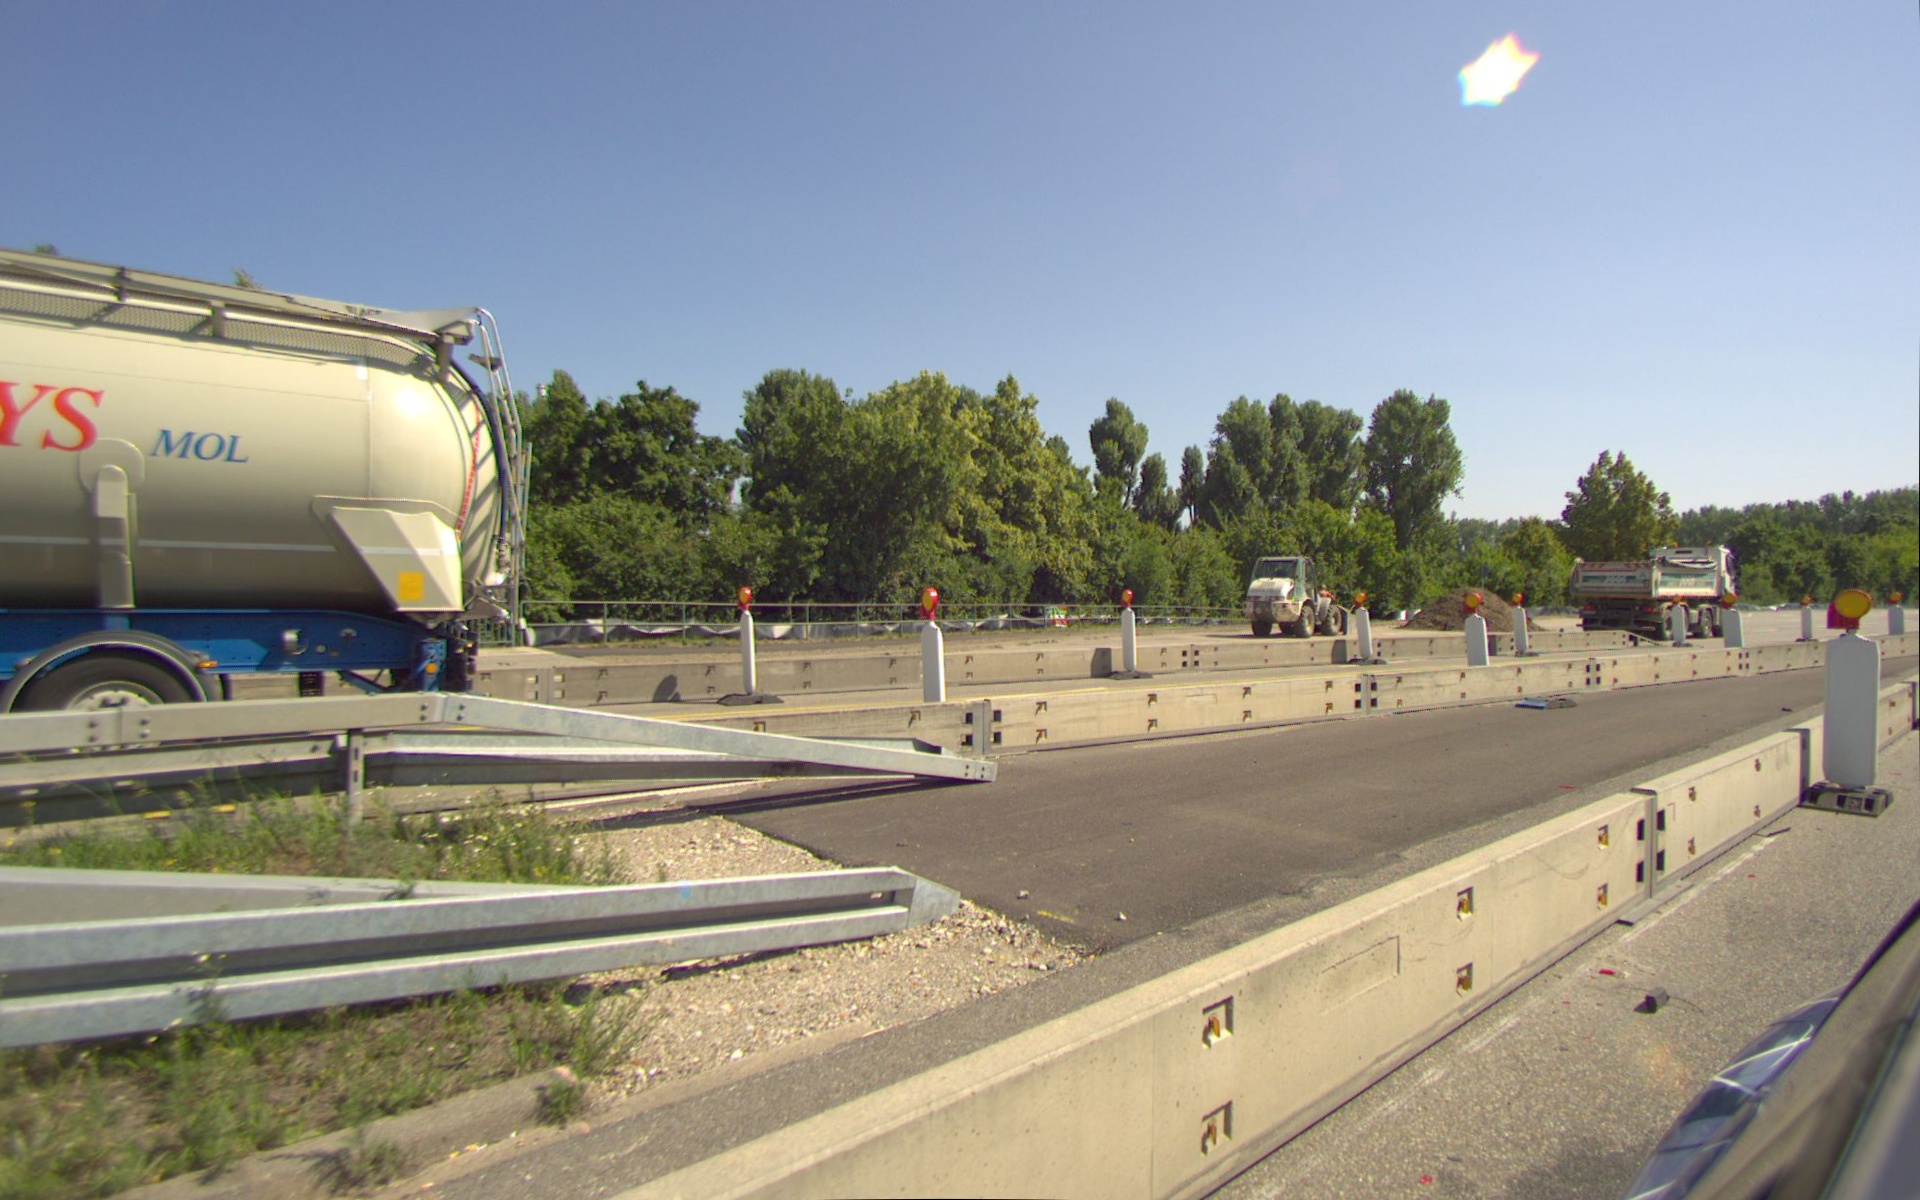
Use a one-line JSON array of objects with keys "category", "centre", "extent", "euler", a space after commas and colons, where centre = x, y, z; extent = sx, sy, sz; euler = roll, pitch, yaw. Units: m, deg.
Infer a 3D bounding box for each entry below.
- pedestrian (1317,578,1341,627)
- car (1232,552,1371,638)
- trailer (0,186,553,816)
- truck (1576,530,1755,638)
[{"category": "pedestrian", "centre": [13.641, 0.092, 37.412], "extent": [0.523, 1.770, 0.665], "euler": [0, 0, -44]}, {"category": "car", "centre": [11.729, -0.220, 34.468], "extent": [2.105, 2.675, 5.888], "euler": [2, 2, 45]}, {"category": "trailer", "centre": [-9.331, -0.670, 6.261], "extent": [12.378, 4.189, 2.702], "euler": [0, 1, -36]}, {"category": "truck", "centre": [25.393, -0.577, 36.247], "extent": [8.571, 3.475, 2.607], "euler": [0, 1, -36]}]
